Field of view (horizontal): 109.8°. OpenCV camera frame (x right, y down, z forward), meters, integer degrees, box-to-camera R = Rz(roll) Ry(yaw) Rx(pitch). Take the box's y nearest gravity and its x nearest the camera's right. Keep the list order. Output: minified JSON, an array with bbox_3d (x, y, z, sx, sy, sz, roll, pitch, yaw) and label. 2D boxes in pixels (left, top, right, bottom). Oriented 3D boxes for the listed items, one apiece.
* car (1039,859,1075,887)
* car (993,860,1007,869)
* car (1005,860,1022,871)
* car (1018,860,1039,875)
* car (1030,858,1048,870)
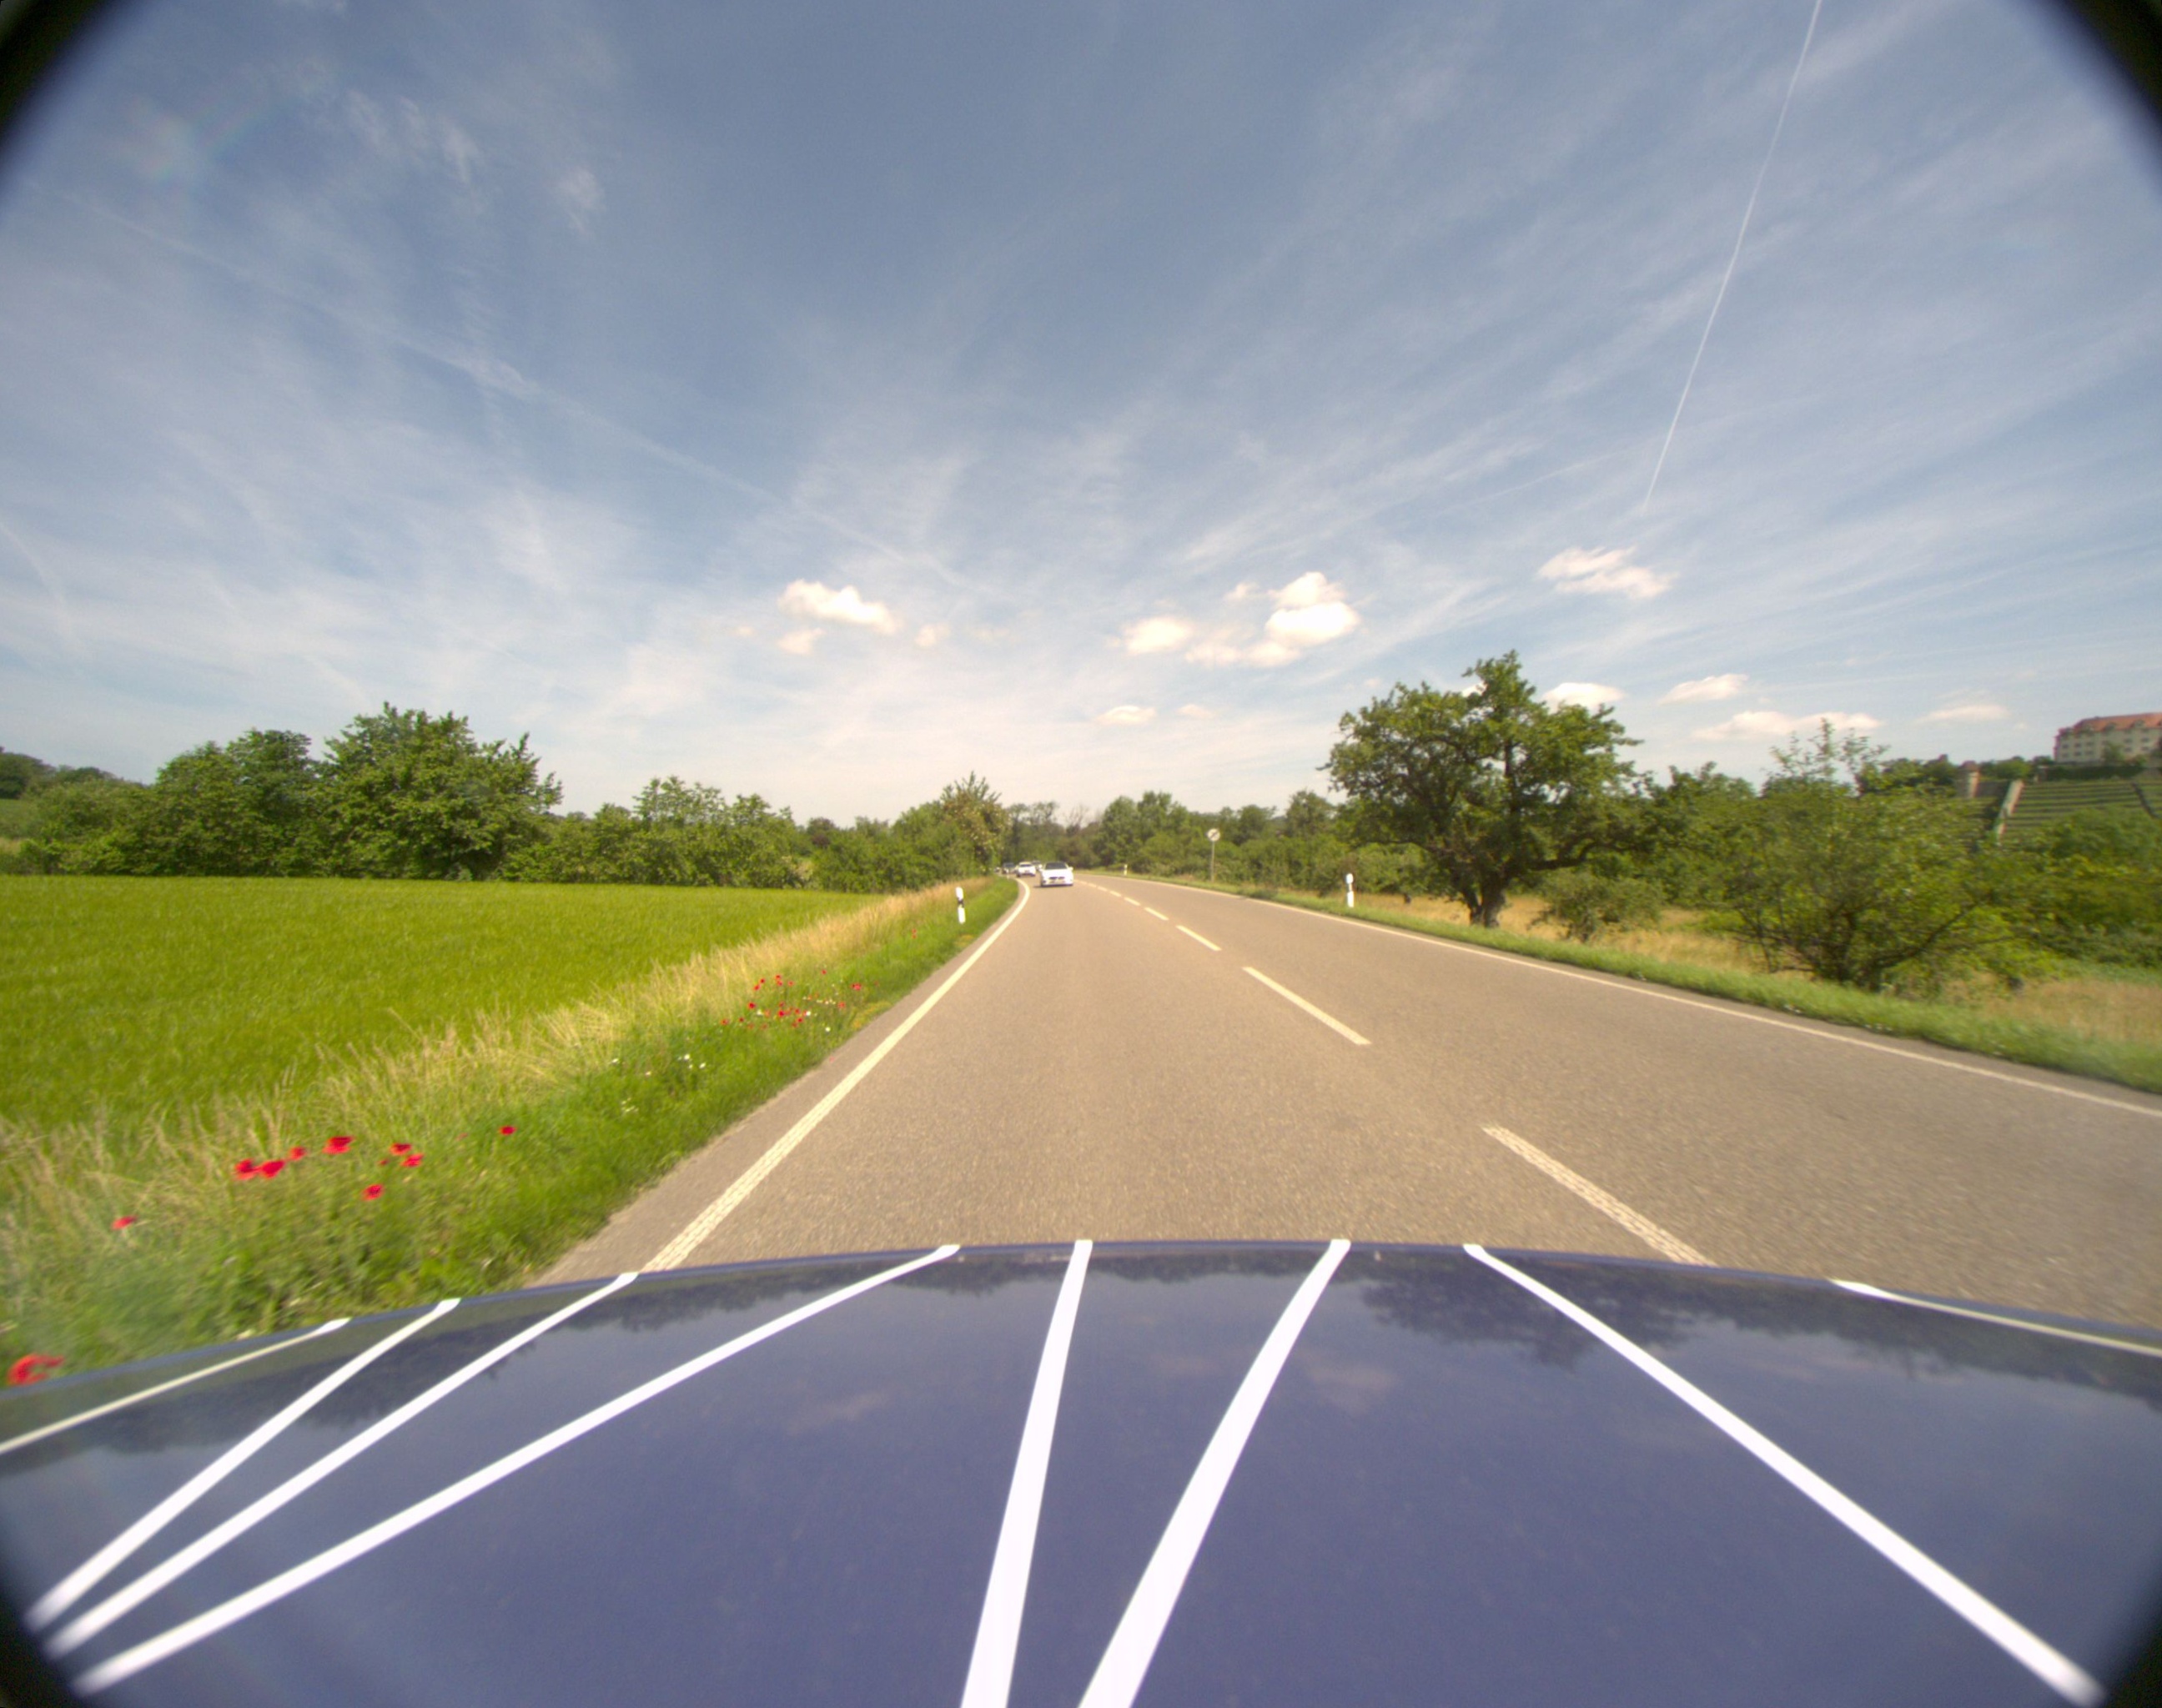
[{"bbox_3d":[-1.485,1.092,45.179,1.930,1.441,4.533,-3,0,-4],"label":"car"},{"bbox_3d":[-13.372,1.697,125.291,1.931,1.441,3.996,0,0,-11],"label":"car"},{"bbox_3d":[-9.241,1.573,103.798,1.931,1.442,4.072,0,1,-9],"label":"car"},{"bbox_3d":[-5.514,1.377,79.381,1.930,1.441,3.997,-2,0,-8],"label":"car"},{"bbox_3d":[-5.874,1.364,105.557,1.931,1.616,3.996,-2,0,-11],"label":"car"}]
